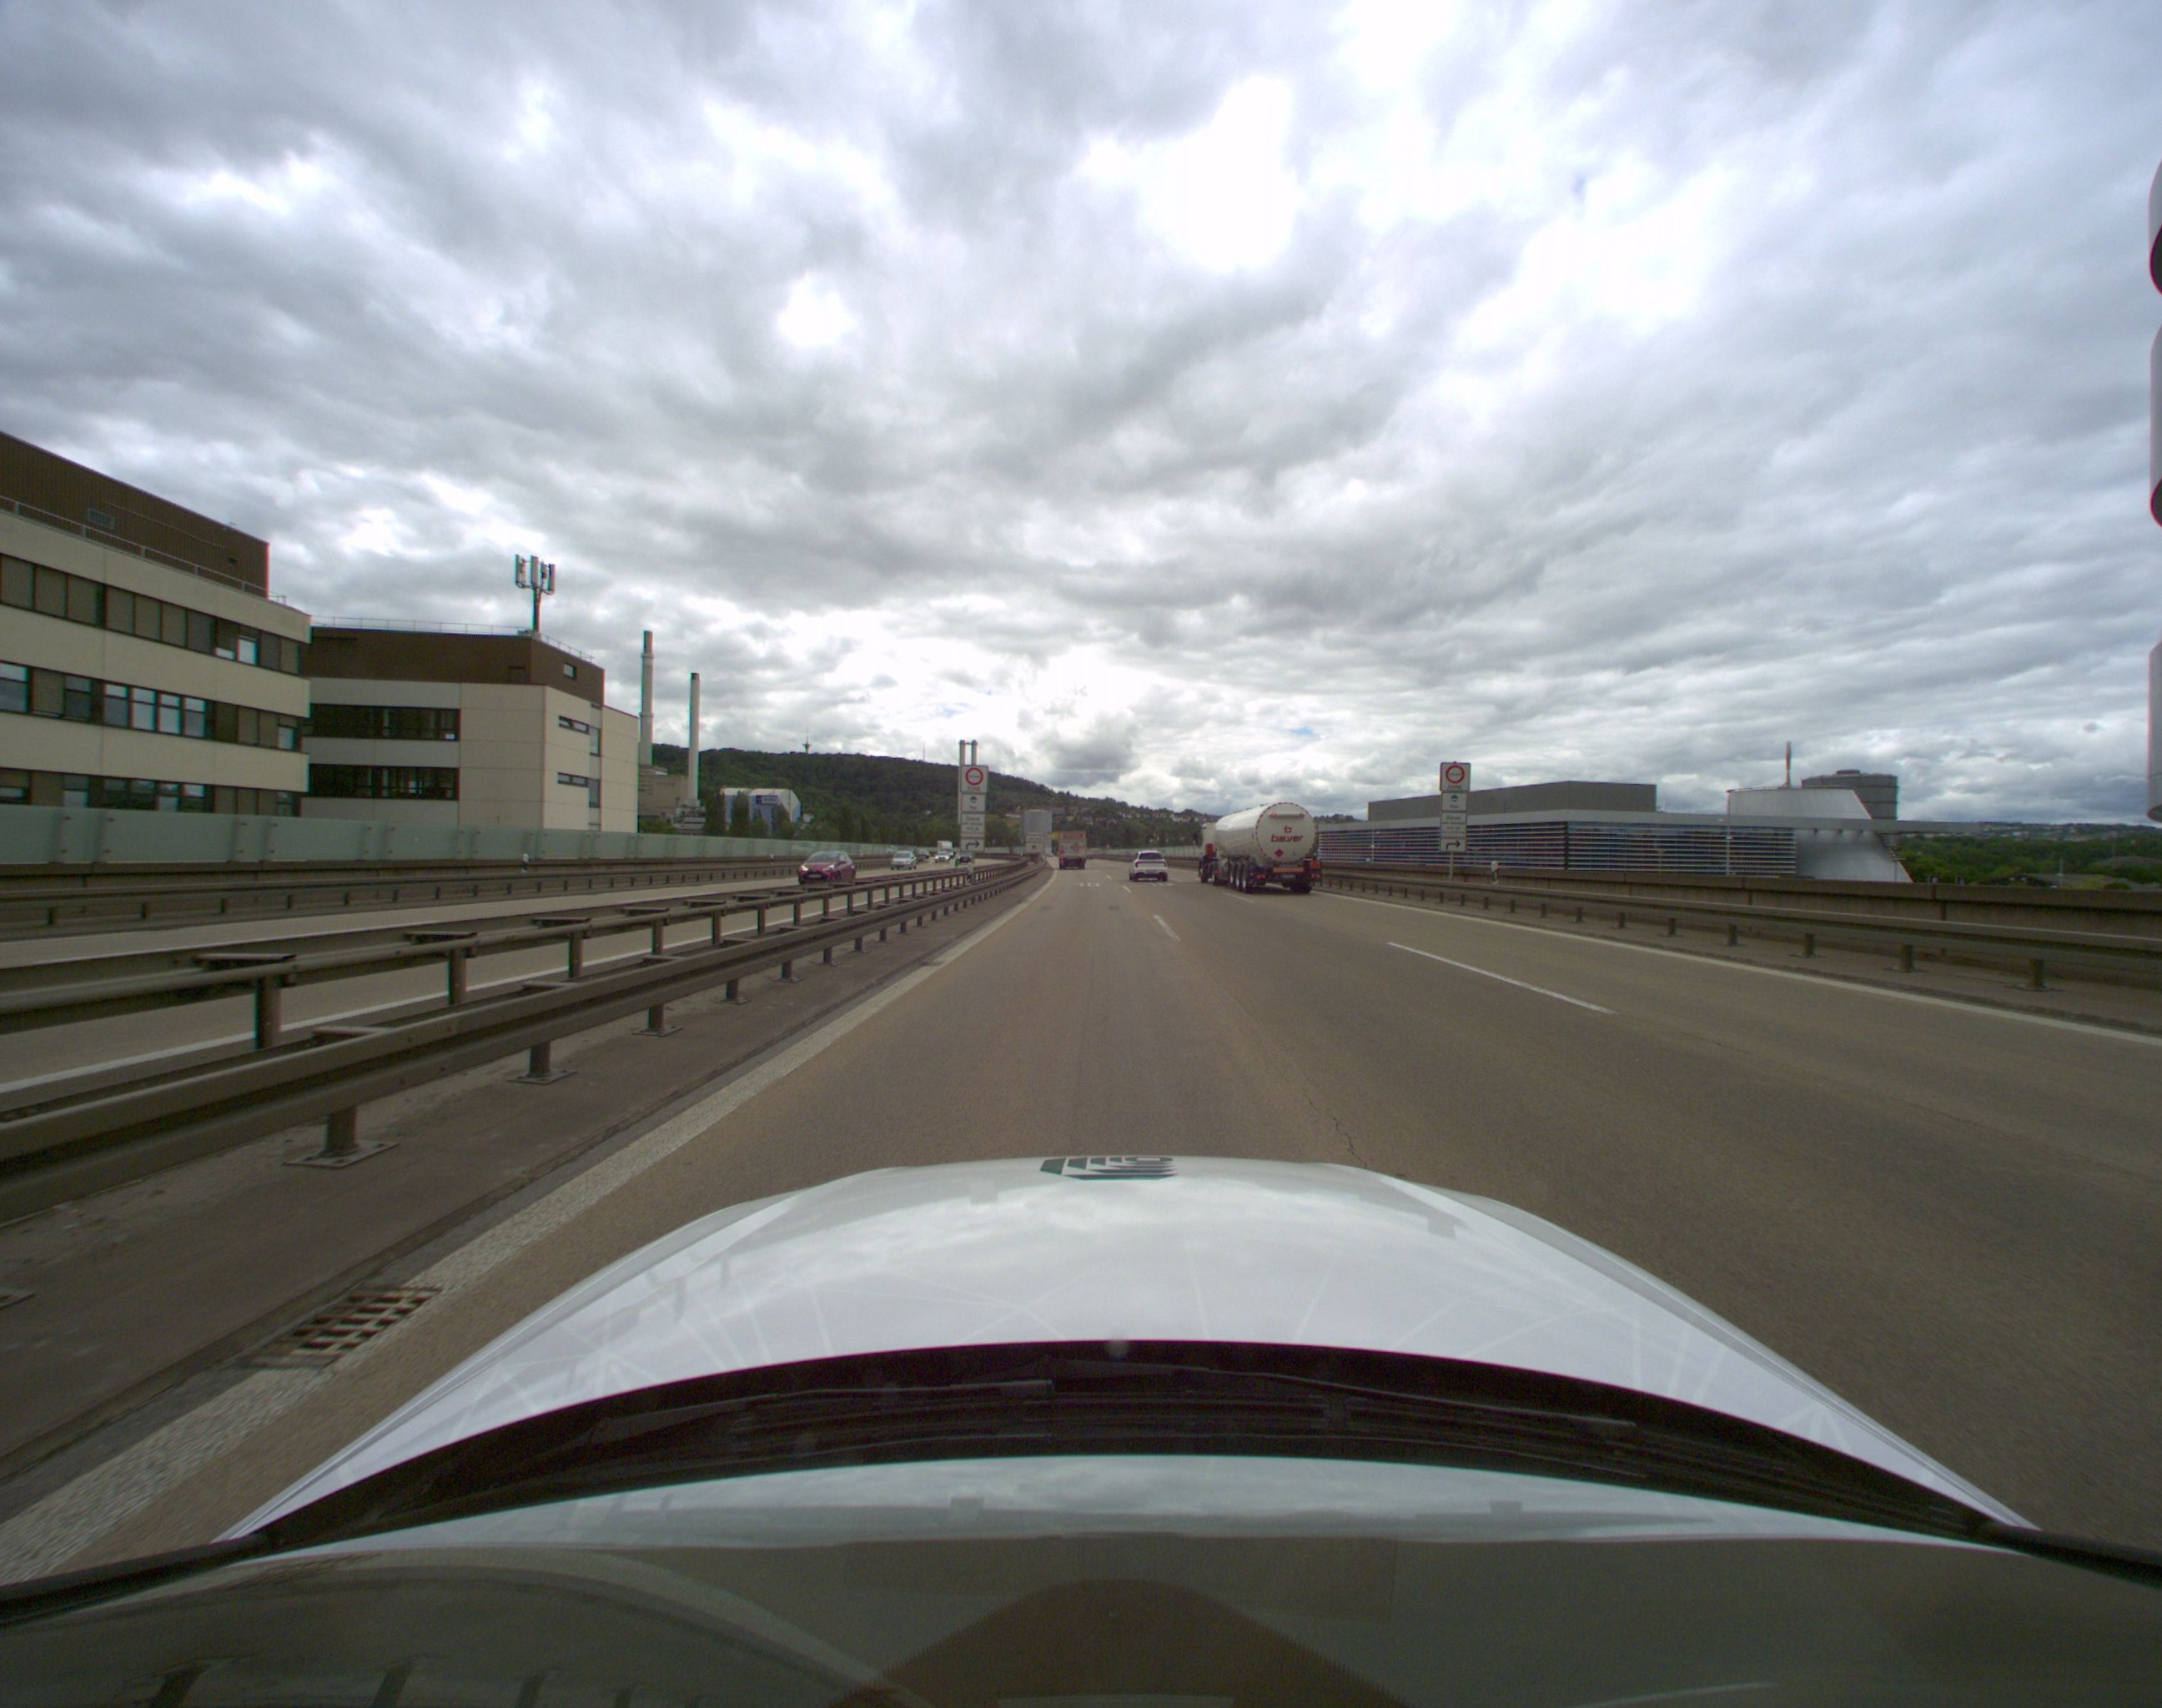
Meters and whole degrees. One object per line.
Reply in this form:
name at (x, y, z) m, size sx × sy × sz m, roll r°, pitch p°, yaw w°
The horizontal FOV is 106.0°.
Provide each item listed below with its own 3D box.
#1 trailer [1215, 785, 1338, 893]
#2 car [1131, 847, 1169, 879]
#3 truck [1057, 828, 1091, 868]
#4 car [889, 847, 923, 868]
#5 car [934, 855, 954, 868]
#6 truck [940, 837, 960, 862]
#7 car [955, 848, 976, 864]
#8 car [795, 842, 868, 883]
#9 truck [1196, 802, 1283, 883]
trailer at (7.616, -0.504, 33.065) m, size 3.047 × 3.790 × 8.303 m, roll 0°, pitch -1°, yaw 0°
car at (3.763, 0.502, 45.139) m, size 1.985 × 1.675 × 4.411 m, roll 0°, pitch -1°, yaw 3°
truck at (-0.692, -0.532, 78.893) m, size 3.048 × 3.691 × 8.299 m, roll 0°, pitch -1°, yaw -1°
car at (-14.549, 0.291, 67.973) m, size 1.989 × 1.675 × 4.404 m, roll 0°, pitch -1°, yaw -2°
car at (-18.009, 0.945, 107.285) m, size 1.989 × 1.675 × 4.403 m, roll 0°, pitch -1°, yaw -3°
truck at (-24.667, -0.865, 153.715) m, size 3.052 × 4.562 × 8.288 m, roll 0°, pitch -1°, yaw -5°
car at (-13.227, 0.241, 93.762) m, size 1.989 × 1.675 × 4.403 m, roll -1°, pitch -1°, yaw -3°
car at (-10.751, 0.374, 35.447) m, size 1.989 × 1.675 × 4.404 m, roll 0°, pitch -1°, yaw -2°
truck at (7.615, -0.482, 40.032) m, size 3.005 × 3.657 × 6.271 m, roll 0°, pitch -1°, yaw -1°
